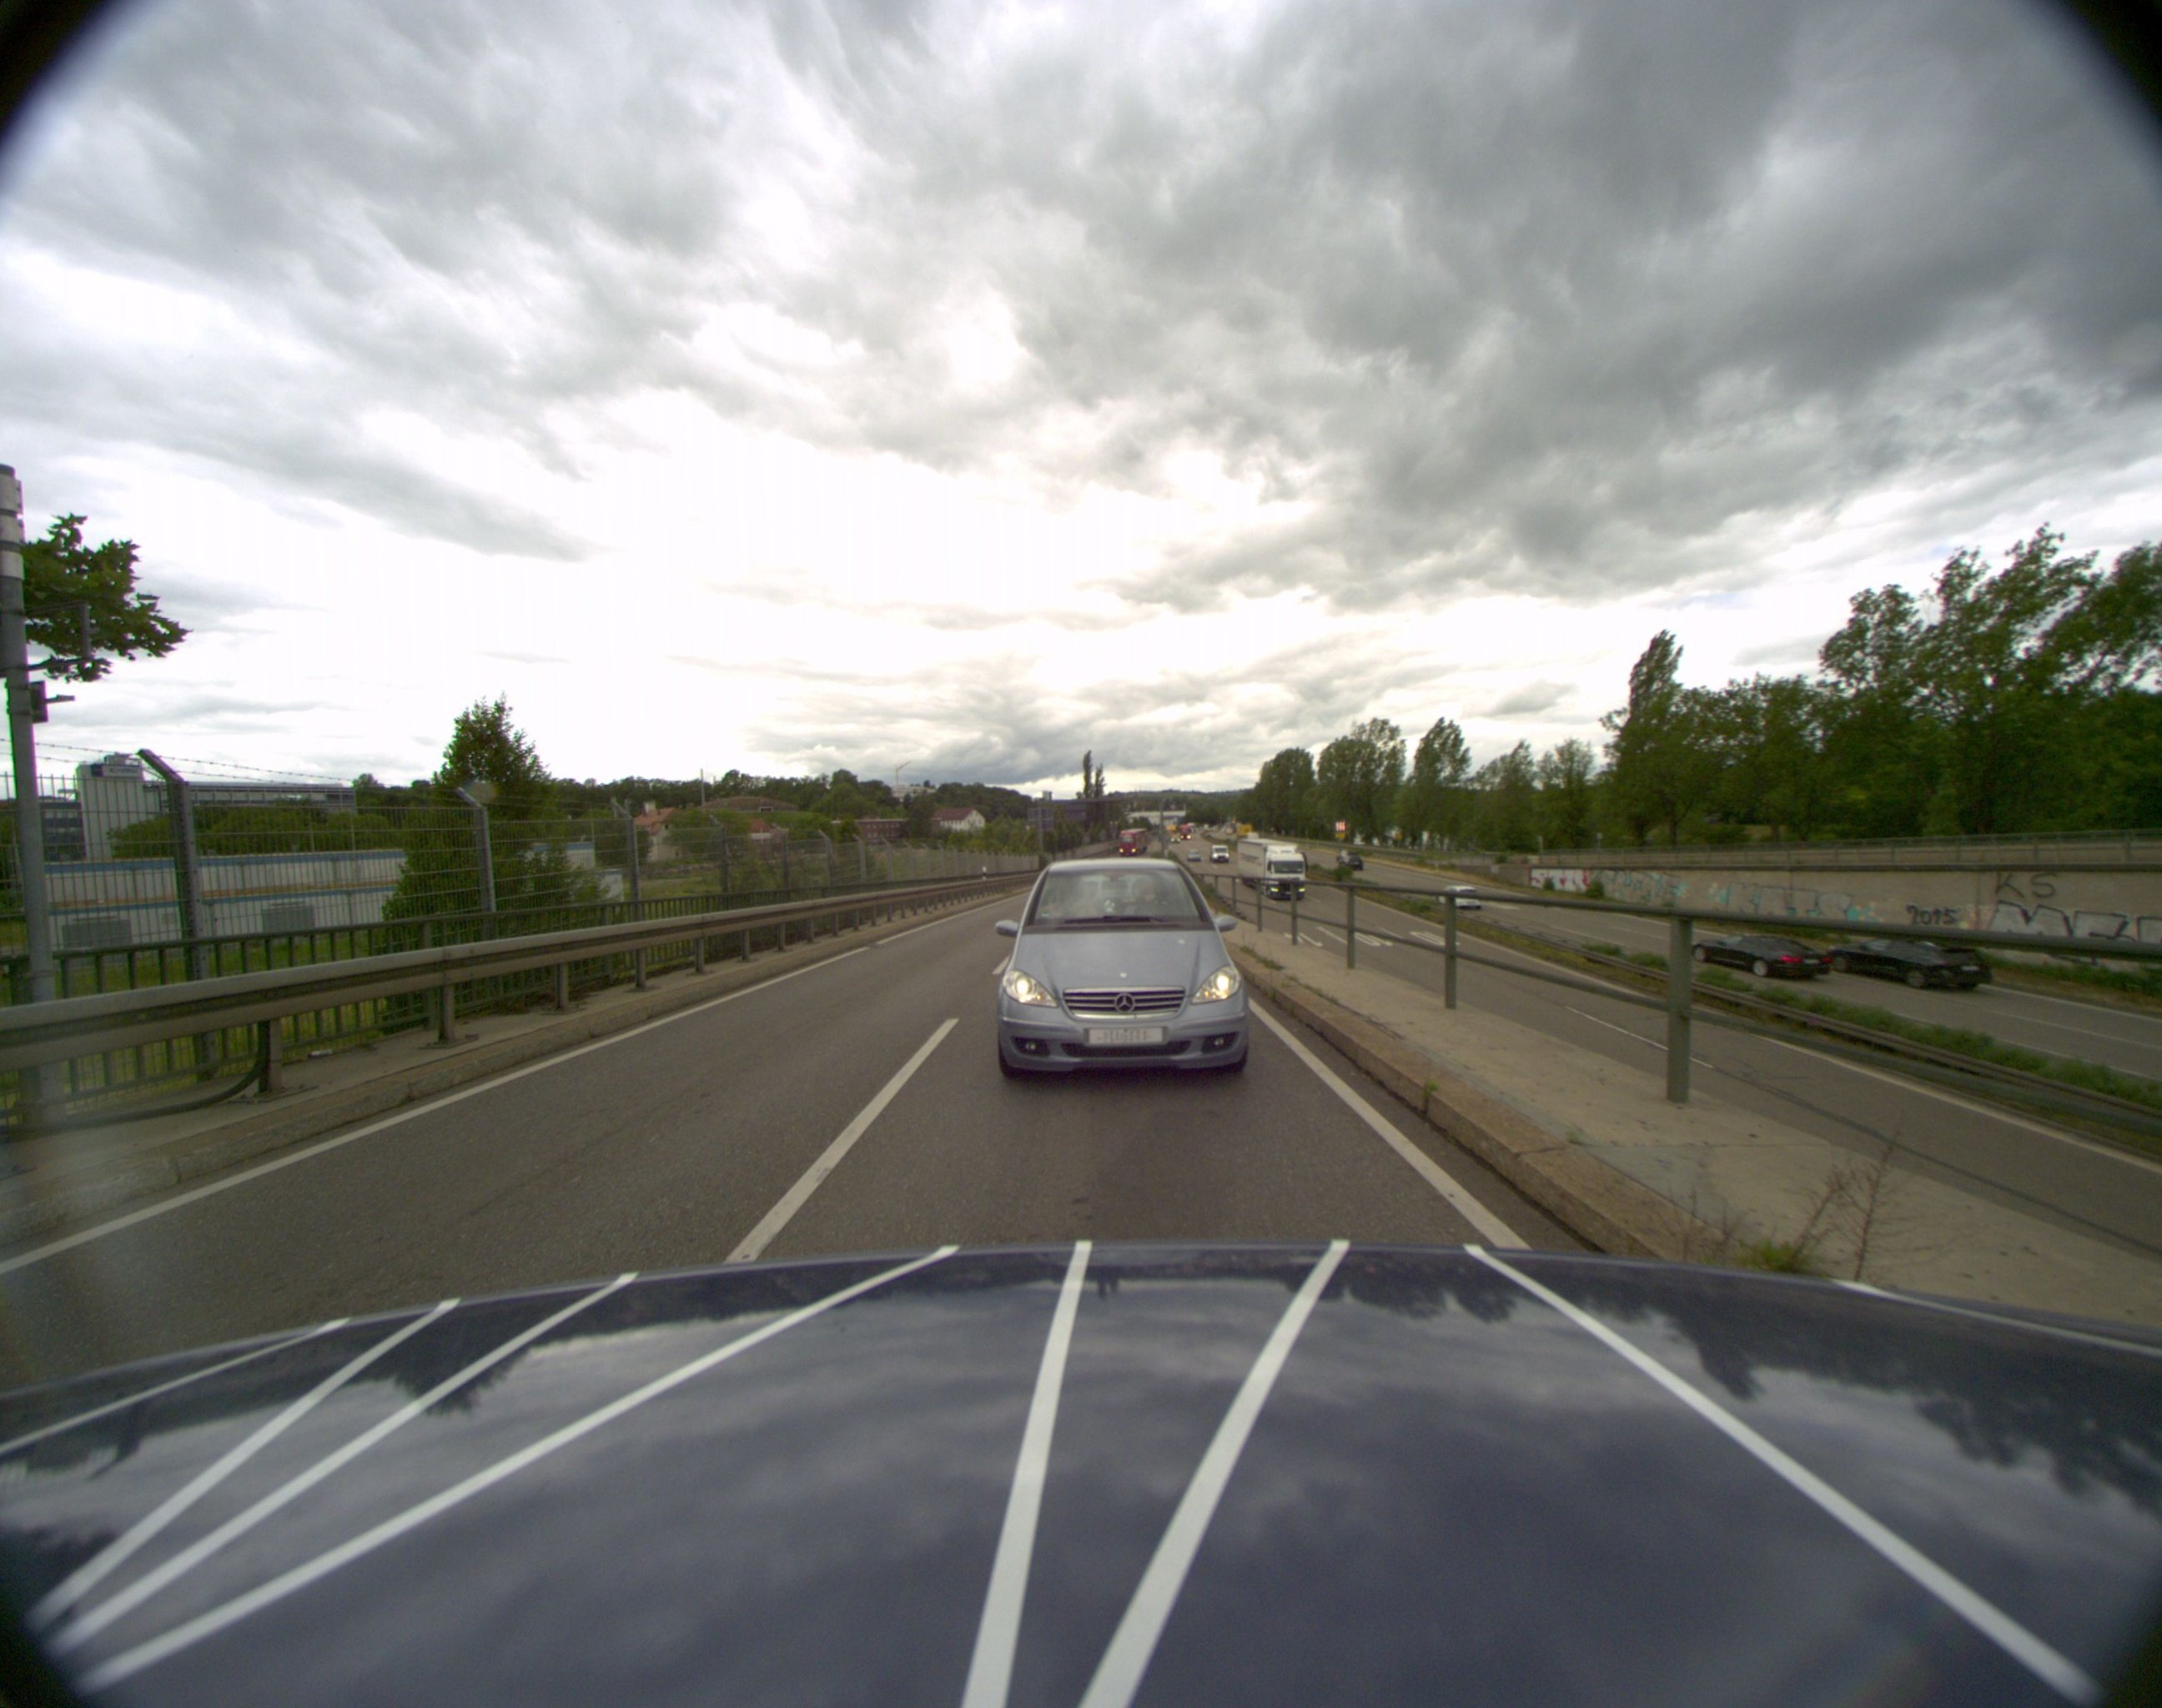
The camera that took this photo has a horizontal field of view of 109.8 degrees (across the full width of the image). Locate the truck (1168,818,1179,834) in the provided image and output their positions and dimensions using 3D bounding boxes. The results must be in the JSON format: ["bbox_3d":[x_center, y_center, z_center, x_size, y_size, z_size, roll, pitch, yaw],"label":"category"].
[{"bbox_3d":[24.661,-7.461,202.504,2.415,4.100,8.169,0,3,4],"label":"truck"}]

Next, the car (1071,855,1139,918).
[{"bbox_3d":[0.706,0.941,23.132,1.830,1.701,4.001,-2,-1,1],"label":"car"}]

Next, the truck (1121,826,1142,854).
[{"bbox_3d":[8.118,-2.351,121.389,3.101,3.990,8.487,-1,4,5],"label":"truck"}]

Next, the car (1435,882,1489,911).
[{"bbox_3d":[25.327,2.783,50.607,1.778,1.485,3.896,1,3,3],"label":"car"}]

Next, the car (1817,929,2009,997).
[{"bbox_3d":[30.272,3.911,27.912,1.998,1.617,4.577,0,3,1],"label":"car"}]

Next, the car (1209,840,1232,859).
[{"bbox_3d":[18.517,-0.633,100.997,2.104,2.231,6.498,0,3,3],"label":"car"}]

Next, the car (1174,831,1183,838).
[{"bbox_3d":[22.967,-4.572,178.565,1.810,1.658,3.999,-1,3,4],"label":"car"}]

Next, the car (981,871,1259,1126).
[{"bbox_3d":[0.279,0.963,6.799,1.743,1.534,3.993,-1,0,1],"label":"car"}]

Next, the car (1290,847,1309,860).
[{"bbox_3d":[28.384,-0.045,98.884,1.717,1.446,3.650,-1,3,5],"label":"car"}]

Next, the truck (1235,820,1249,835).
[{"bbox_3d":[45.539,-7.574,214.991,3.247,4.159,5.803,0,3,5],"label":"truck"}]

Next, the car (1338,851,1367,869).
[{"bbox_3d":[30.261,0.656,84.728,1.886,1.709,4.181,0,3,3],"label":"car"}]

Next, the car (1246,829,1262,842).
[{"bbox_3d":[36.828,-3.936,161.861,2.172,2.580,6.099,-1,3,1],"label":"car"}]

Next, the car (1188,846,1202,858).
[{"bbox_3d":[15.640,-0.287,104.502,1.512,1.365,3.536,0,3,3],"label":"car"}]

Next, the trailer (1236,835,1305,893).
[{"bbox_3d":[15.867,0.607,64.936,3.010,4.087,13.984,0,3,3],"label":"trailer"}]

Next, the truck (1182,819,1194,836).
[{"bbox_3d":[30.592,-7.644,217.321,2.754,4.712,9.916,1,3,4],"label":"truck"}]

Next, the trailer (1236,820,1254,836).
[{"bbox_3d":[45.120,-7.257,209.994,3.247,4.239,13.678,0,3,5],"label":"trailer"}]

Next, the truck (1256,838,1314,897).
[{"bbox_3d":[15.518,0.938,58.226,3.010,4.087,5.872,0,3,3],"label":"truck"}]

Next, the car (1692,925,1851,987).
[{"bbox_3d":[26.758,3.890,29.713,1.998,1.617,4.577,0,3,1],"label":"car"}]
